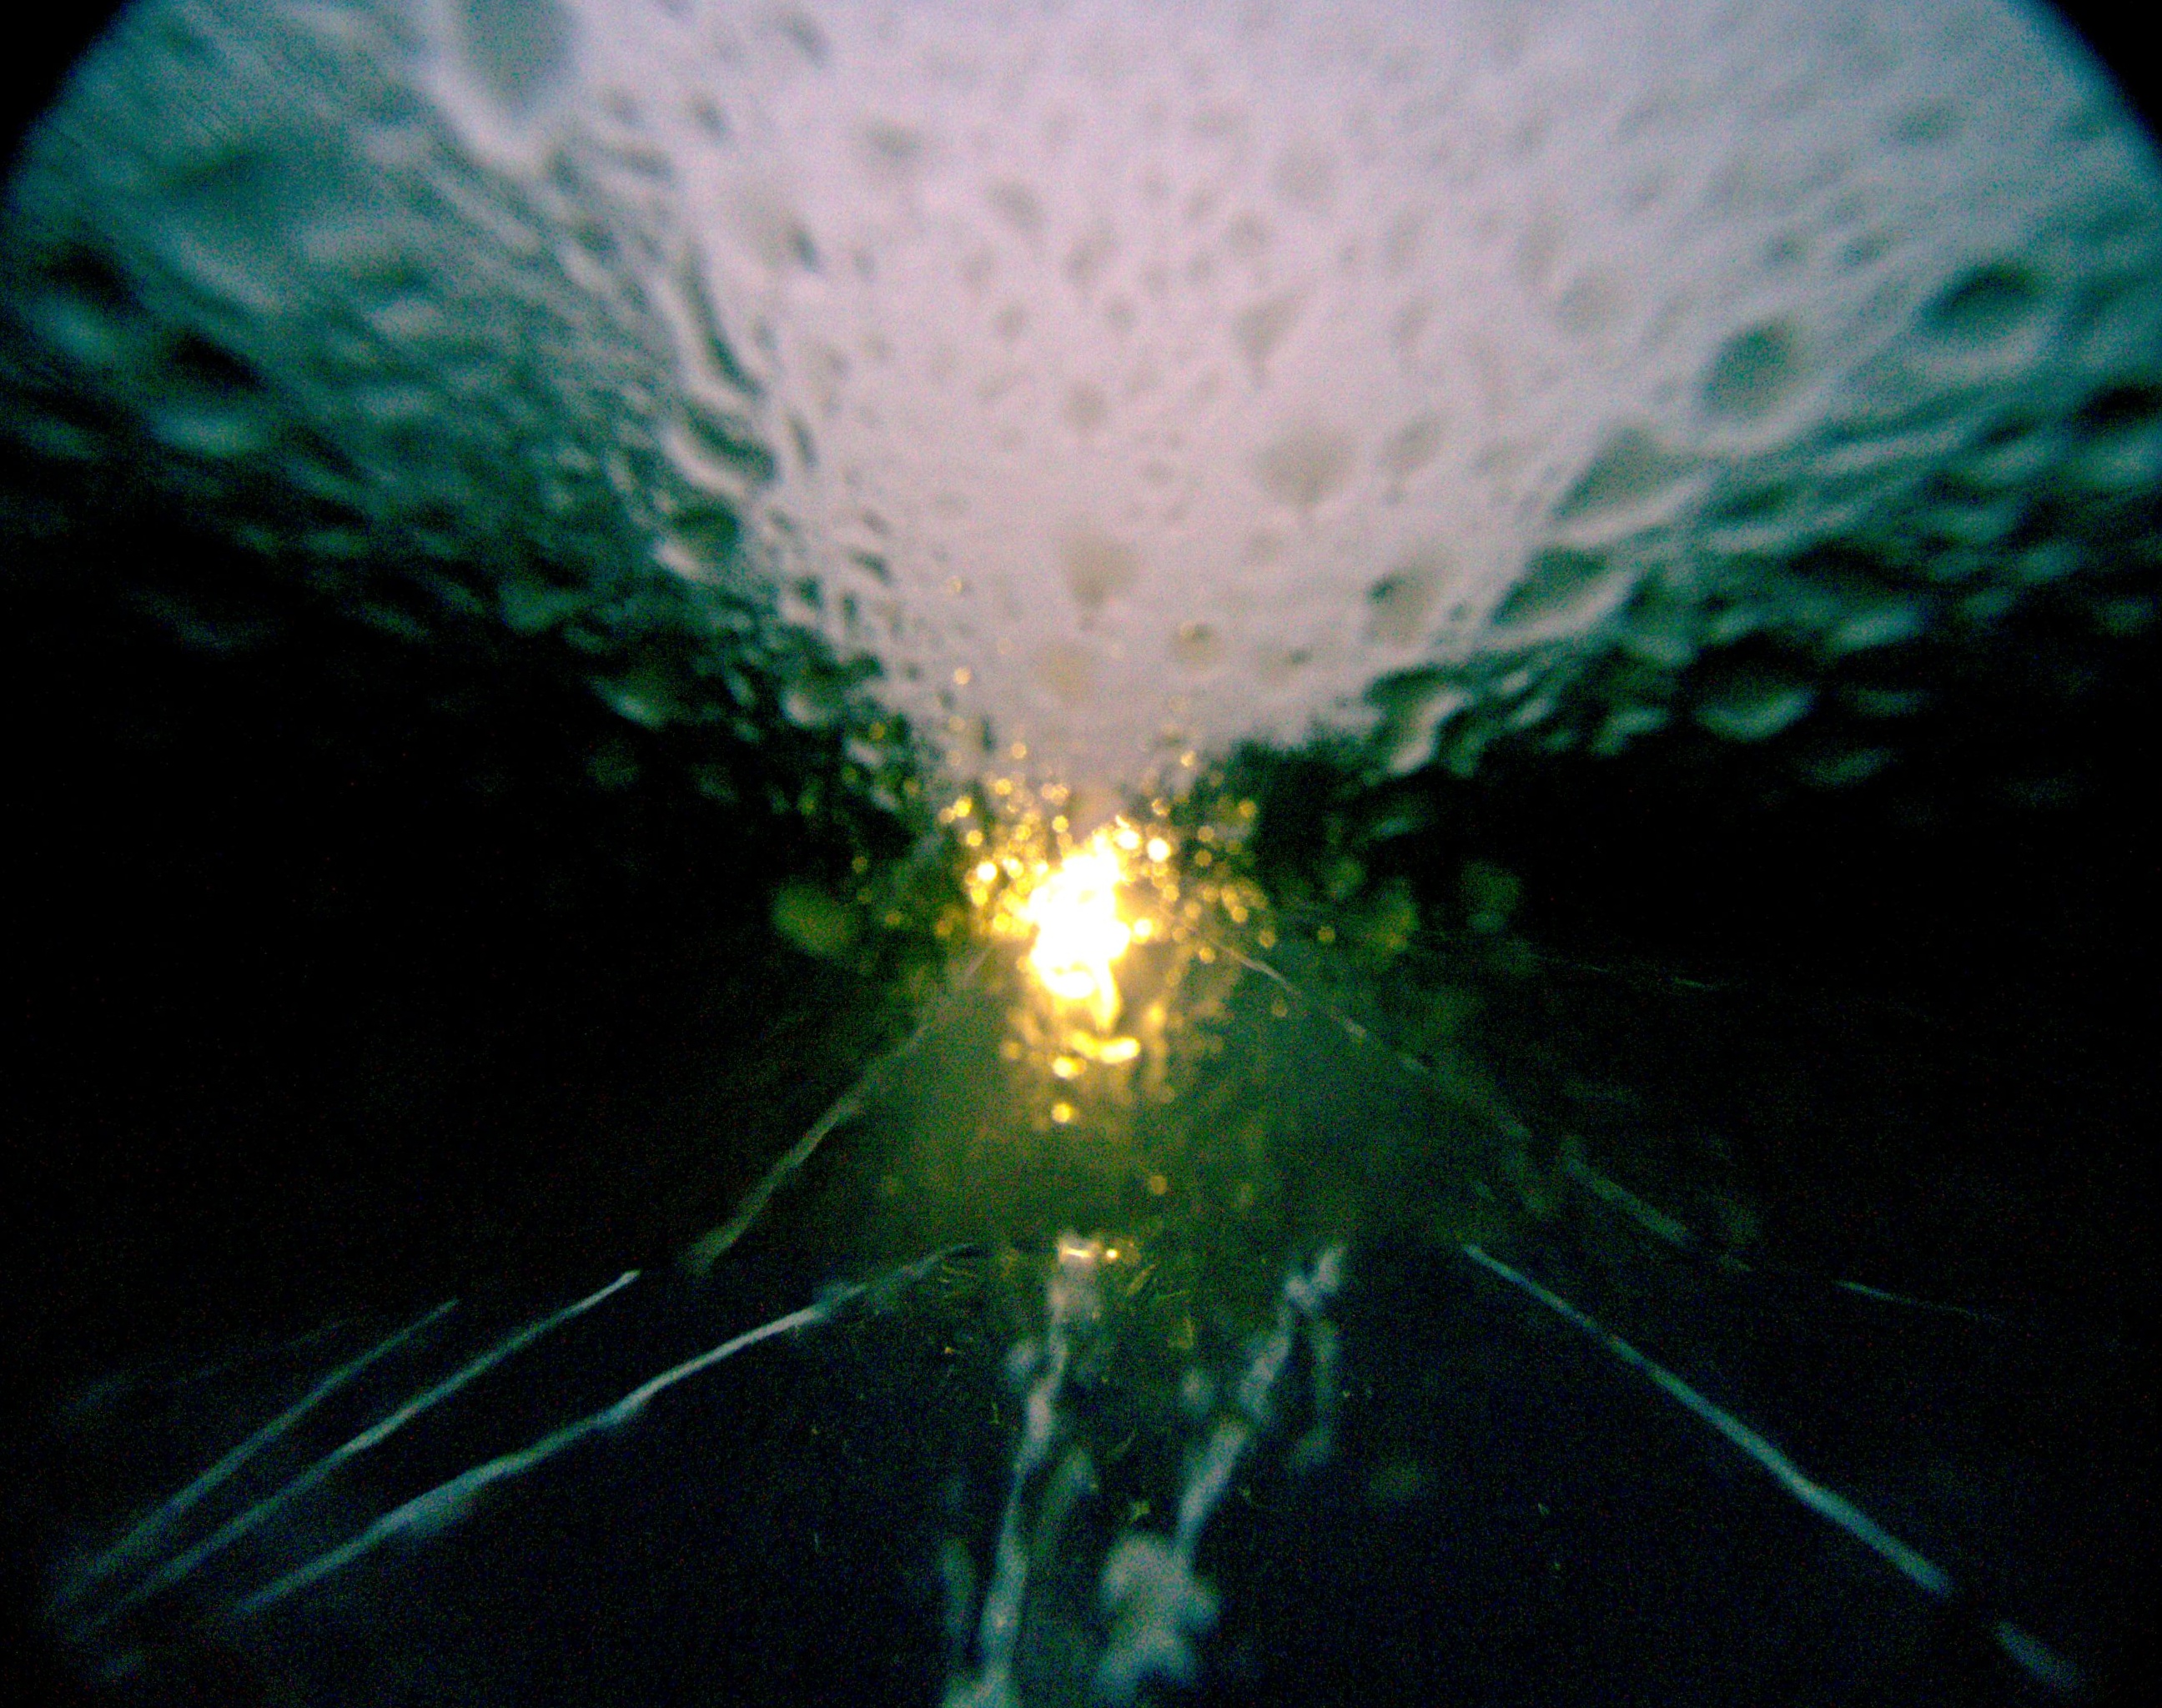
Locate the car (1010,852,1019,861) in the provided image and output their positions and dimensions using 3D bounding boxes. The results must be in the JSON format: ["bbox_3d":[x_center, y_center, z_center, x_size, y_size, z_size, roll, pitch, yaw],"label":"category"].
[{"bbox_3d":[-13.839,0.475,158.159,1.702,1.721,3.996,-2,2,-8],"label":"car"}]

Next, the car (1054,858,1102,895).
[{"bbox_3d":[-0.200,0.889,31.861,1.850,1.429,4.244,-1,0,-2],"label":"car"}]
